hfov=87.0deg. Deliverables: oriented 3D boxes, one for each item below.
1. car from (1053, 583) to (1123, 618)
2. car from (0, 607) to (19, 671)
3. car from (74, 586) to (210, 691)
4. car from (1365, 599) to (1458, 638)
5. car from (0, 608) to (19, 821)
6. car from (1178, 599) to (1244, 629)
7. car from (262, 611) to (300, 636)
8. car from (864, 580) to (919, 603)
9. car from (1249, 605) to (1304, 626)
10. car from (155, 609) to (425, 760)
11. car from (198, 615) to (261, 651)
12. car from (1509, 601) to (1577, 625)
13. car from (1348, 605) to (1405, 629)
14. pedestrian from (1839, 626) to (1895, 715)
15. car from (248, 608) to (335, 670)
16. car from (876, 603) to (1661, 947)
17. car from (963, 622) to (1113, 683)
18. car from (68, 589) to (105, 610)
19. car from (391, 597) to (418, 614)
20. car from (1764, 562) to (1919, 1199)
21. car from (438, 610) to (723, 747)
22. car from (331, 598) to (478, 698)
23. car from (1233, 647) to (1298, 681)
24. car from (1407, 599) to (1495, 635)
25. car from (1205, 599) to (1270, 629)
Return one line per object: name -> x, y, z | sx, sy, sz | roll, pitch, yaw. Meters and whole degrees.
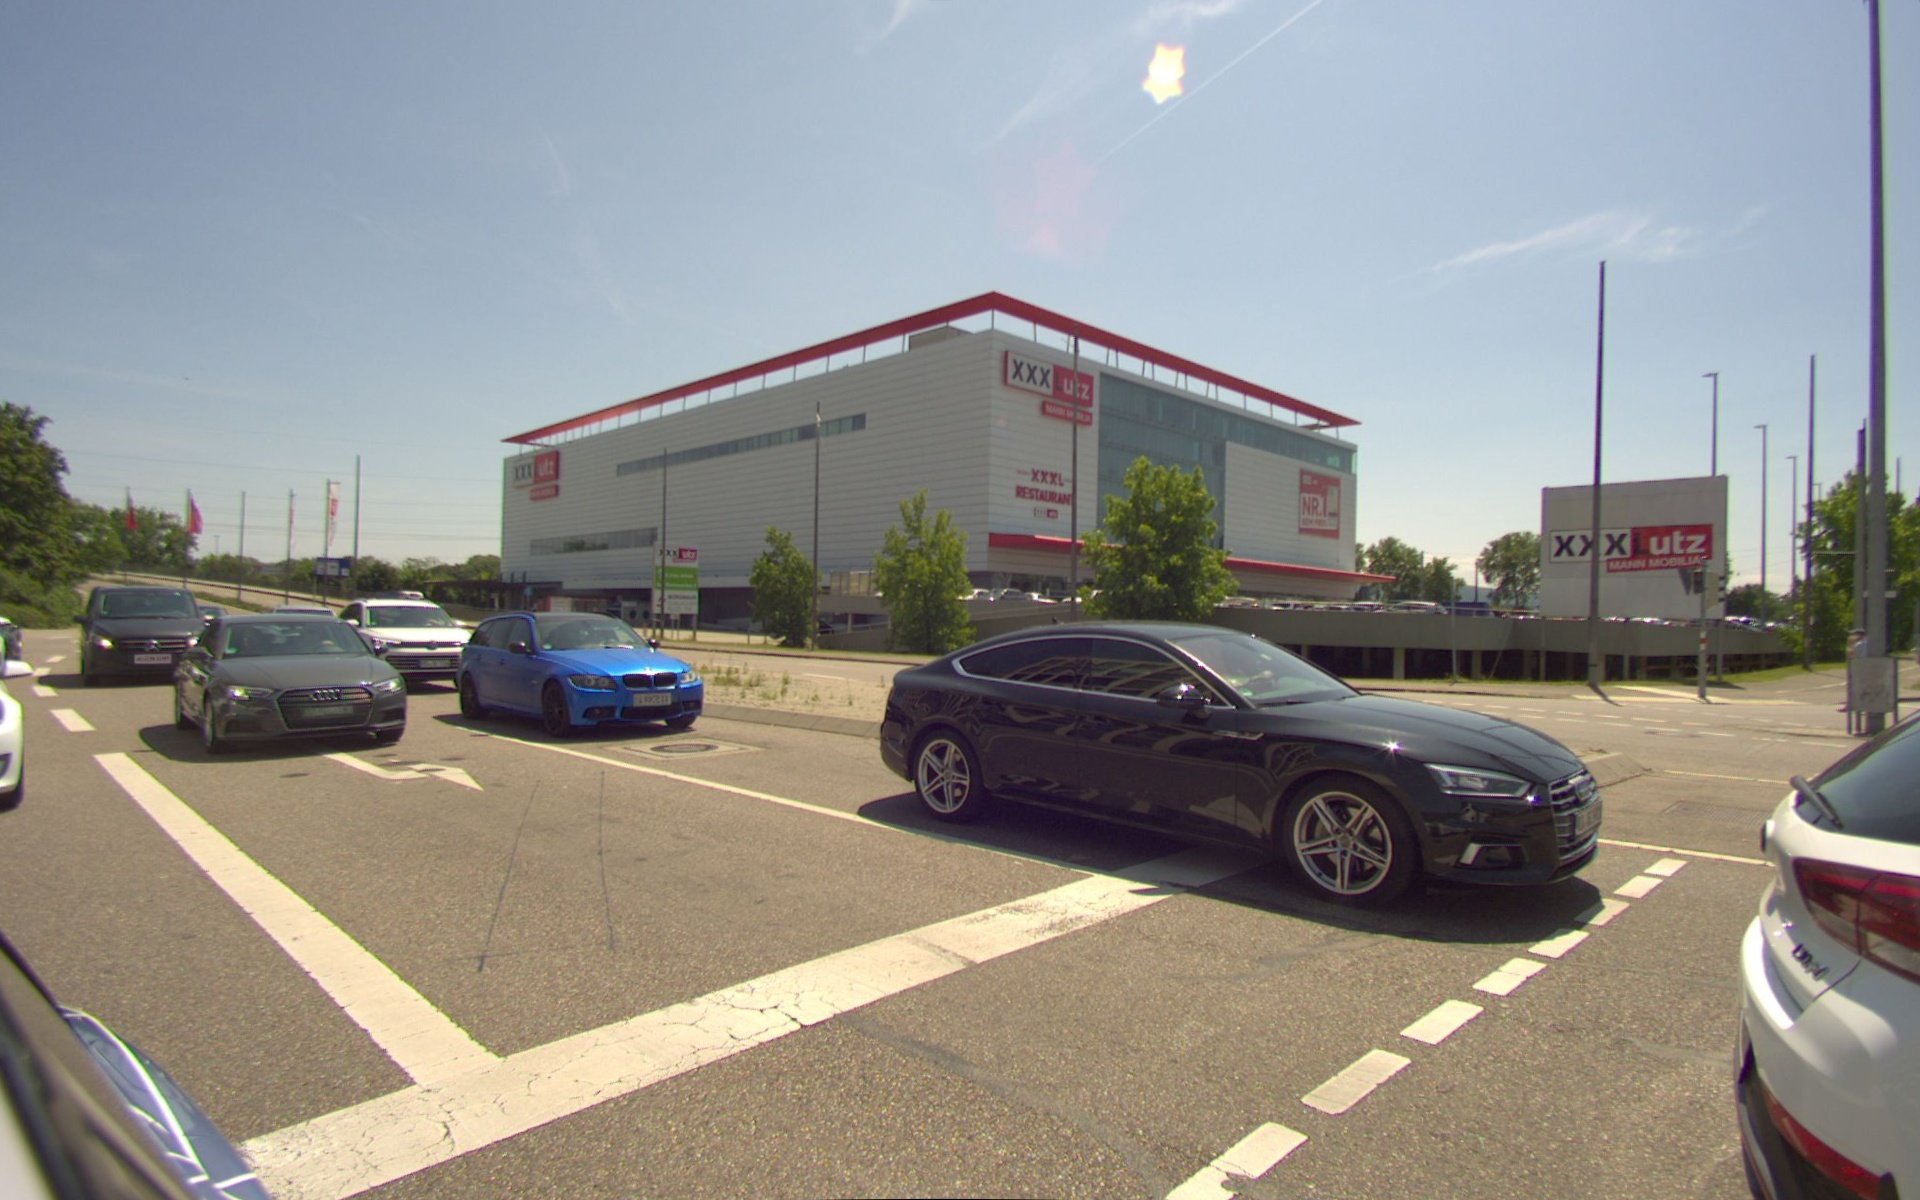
car -> 7.732, 0.061, 61.106 | 4.404, 2.029, 1.681 | 2, -2, -41
car -> -23.198, 0.866, 23.550 | 1.745, 1.413, 3.953 | 1, -1, -45
car -> -16.415, 0.689, 20.221 | 1.868, 1.835, 4.843 | 1, -1, -42
car -> 24.954, 1.002, 55.951 | 4.327, 2.029, 1.973 | 0, -1, 40
car -> -8.633, 0.795, 7.792 | 4.285, 1.447, 1.798 | 0, 0, 44
car -> 17.495, 0.966, 70.600 | 4.137, 2.029, 1.757 | 0, -2, 44
car -> -41.209, 1.421, 61.363 | 1.699, 1.483, 4.009 | 2, -2, -37
car -> -4.946, -0.623, 73.498 | 1.717, 1.519, 3.944 | 0, -2, 42
car -> 26.868, 1.339, 85.923 | 4.137, 1.694, 1.757 | 0, -2, 44
car -> -7.719, 0.816, 11.494 | 4.091, 1.393, 1.745 | 0, -1, 45
car -> -30.260, 1.348, 42.021 | 1.581, 1.451, 3.745 | 2, -2, -28
car -> 43.657, 0.972, 75.871 | 4.137, 1.754, 1.757 | 0, -2, 44
car -> 34.928, 1.435, 84.868 | 1.971, 1.915, 4.002 | 2, -2, -45
pedestrian -> 18.987, 1.455, 21.183 | 0.596, 1.797, 0.827 | 2, -2, -43
car -> -17.051, 0.945, 25.842 | 1.741, 1.433, 3.909 | 0, -1, -33
car -> 1.550, 0.783, 6.359 | 4.469, 1.415, 1.652 | -2, -3, 45
car -> 2.215, 1.469, 29.245 | 4.001, 1.608, 1.971 | 0, -2, 44
car -> -89.454, -0.030, 103.611 | 3.981, 2.029, 1.892 | 0, -2, 35
car -> -78.415, 0.826, 142.727 | 2.161, 2.300, 4.818 | 2, -2, -43
car -> 3.403, 0.659, 1.000 | 4.067, 1.447, 1.770 | 0, -1, 40
car -> -4.986, 0.851, 12.955 | 4.433, 1.413, 1.745 | 0, 0, 45
car -> -10.538, 0.809, 19.032 | 1.742, 1.653, 4.500 | 0, 0, -38
car -> 16.698, 3.439, 55.180 | 1.999, 1.719, 3.946 | 0, -2, 40
car -> 29.021, 1.001, 59.852 | 4.326, 2.029, 1.973 | 0, -1, 40
car -> 19.781, 0.993, 72.112 | 4.137, 2.029, 1.757 | 0, -2, 44
